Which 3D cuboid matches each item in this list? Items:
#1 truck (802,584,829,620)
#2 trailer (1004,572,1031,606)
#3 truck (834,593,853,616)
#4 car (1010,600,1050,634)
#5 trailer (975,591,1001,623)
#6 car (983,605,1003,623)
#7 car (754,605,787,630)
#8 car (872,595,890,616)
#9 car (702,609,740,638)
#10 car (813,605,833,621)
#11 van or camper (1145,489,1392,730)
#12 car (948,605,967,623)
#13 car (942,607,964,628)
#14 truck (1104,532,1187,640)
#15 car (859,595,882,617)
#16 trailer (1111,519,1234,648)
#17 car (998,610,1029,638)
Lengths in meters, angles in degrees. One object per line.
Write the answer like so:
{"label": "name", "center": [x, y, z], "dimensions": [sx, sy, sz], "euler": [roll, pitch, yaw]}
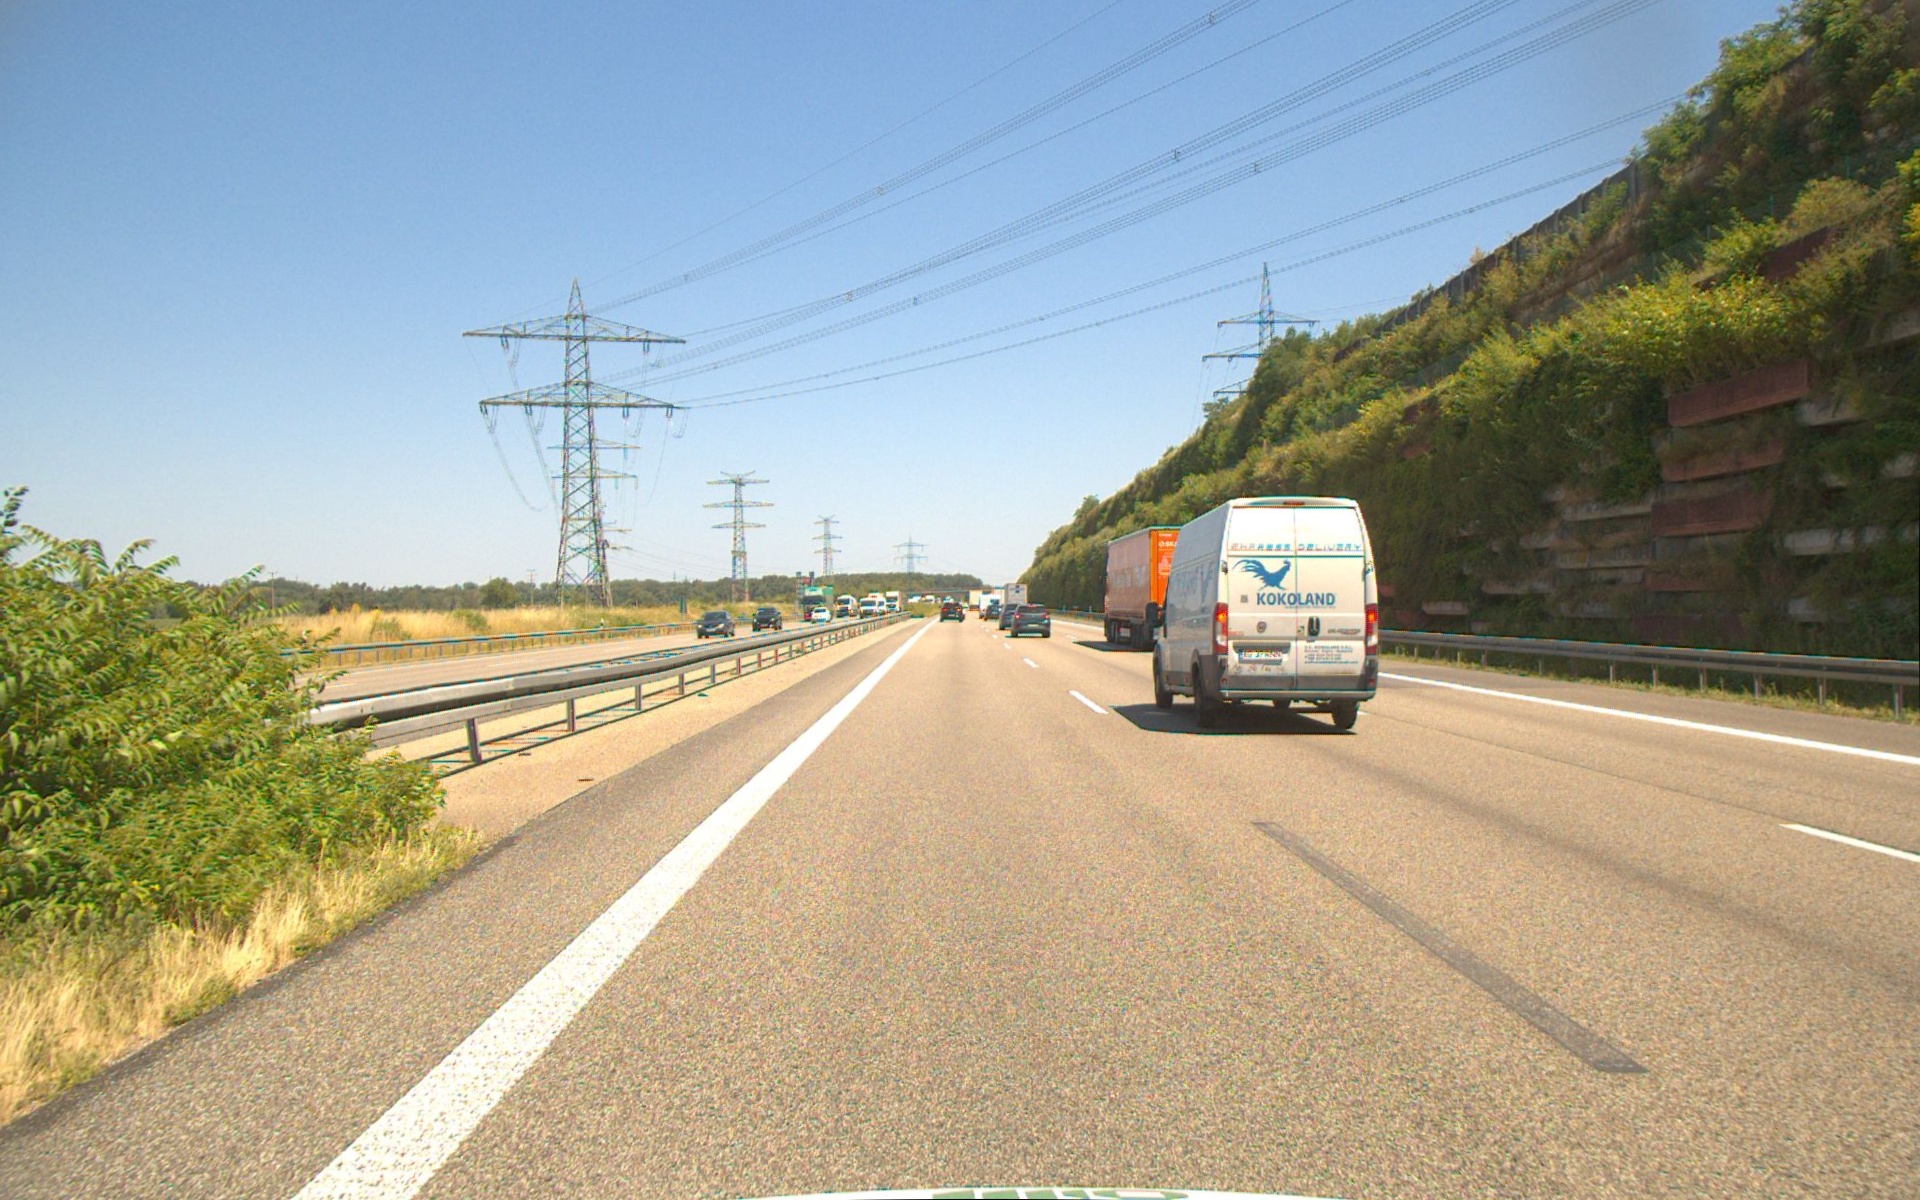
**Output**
{"label": "truck", "center": [-17.638, 0.221, 201.660], "dimensions": [2.644, 4.207, 6.580], "euler": [-1, 0, 0]}
{"label": "trailer", "center": [7.440, -1.413, 215.037], "dimensions": [3.118, 4.193, 13.431], "euler": [-1, 0, 0]}
{"label": "truck", "center": [-18.017, 0.751, 255.289], "dimensions": [2.432, 3.437, 6.211], "euler": [-2, 0, 0]}
{"label": "car", "center": [3.302, 0.777, 78.497], "dimensions": [1.713, 1.552, 3.995], "euler": [-1, 0, 0]}
{"label": "trailer", "center": [3.025, 0.760, 178.538], "dimensions": [2.557, 3.269, 9.951], "euler": [-1, 0, 0]}
{"label": "car", "center": [3.084, 1.304, 153.970], "dimensions": [1.792, 1.552, 4.000], "euler": [-1, 0, 1]}
{"label": "car", "center": [-13.743, 1.274, 120.030], "dimensions": [1.803, 1.658, 4.413], "euler": [-4, 0, 0]}
{"label": "car", "center": [-9.818, 0.690, 206.314], "dimensions": [2.006, 2.481, 6.068], "euler": [-2, 0, -1]}
{"label": "car", "center": [-13.557, 1.293, 93.932], "dimensions": [1.585, 1.485, 4.282], "euler": [-4, 0, -2]}
{"label": "car", "center": [-14.050, 1.305, 169.728], "dimensions": [1.673, 1.550, 4.513], "euler": [-3, 0, -1]}
{"label": "van or camper", "center": [3.988, 0.111, 22.735], "dimensions": [2.054, 2.817, 6.755], "euler": [0, 0, -1]}
{"label": "car", "center": [-0.273, 1.316, 160.698], "dimensions": [1.792, 1.700, 4.000], "euler": [-1, 0, 0]}
{"label": "car", "center": [-0.602, 1.500, 142.879], "dimensions": [1.792, 1.700, 4.000], "euler": [-1, 0, 0]}
{"label": "truck", "center": [7.275, -0.515, 65.619], "dimensions": [2.564, 4.062, 6.526], "euler": [0, 0, 0]}
{"label": "car", "center": [-9.702, 0.657, 179.620], "dimensions": [2.066, 2.338, 6.705], "euler": [-2, 0, -1]}
{"label": "trailer", "center": [7.302, -0.511, 58.809], "dimensions": [2.591, 4.075, 13.605], "euler": [0, 0, 0]}
{"label": "car", "center": [3.261, 1.431, 100.531], "dimensions": [1.757, 1.682, 4.138], "euler": [0, 0, 0]}
